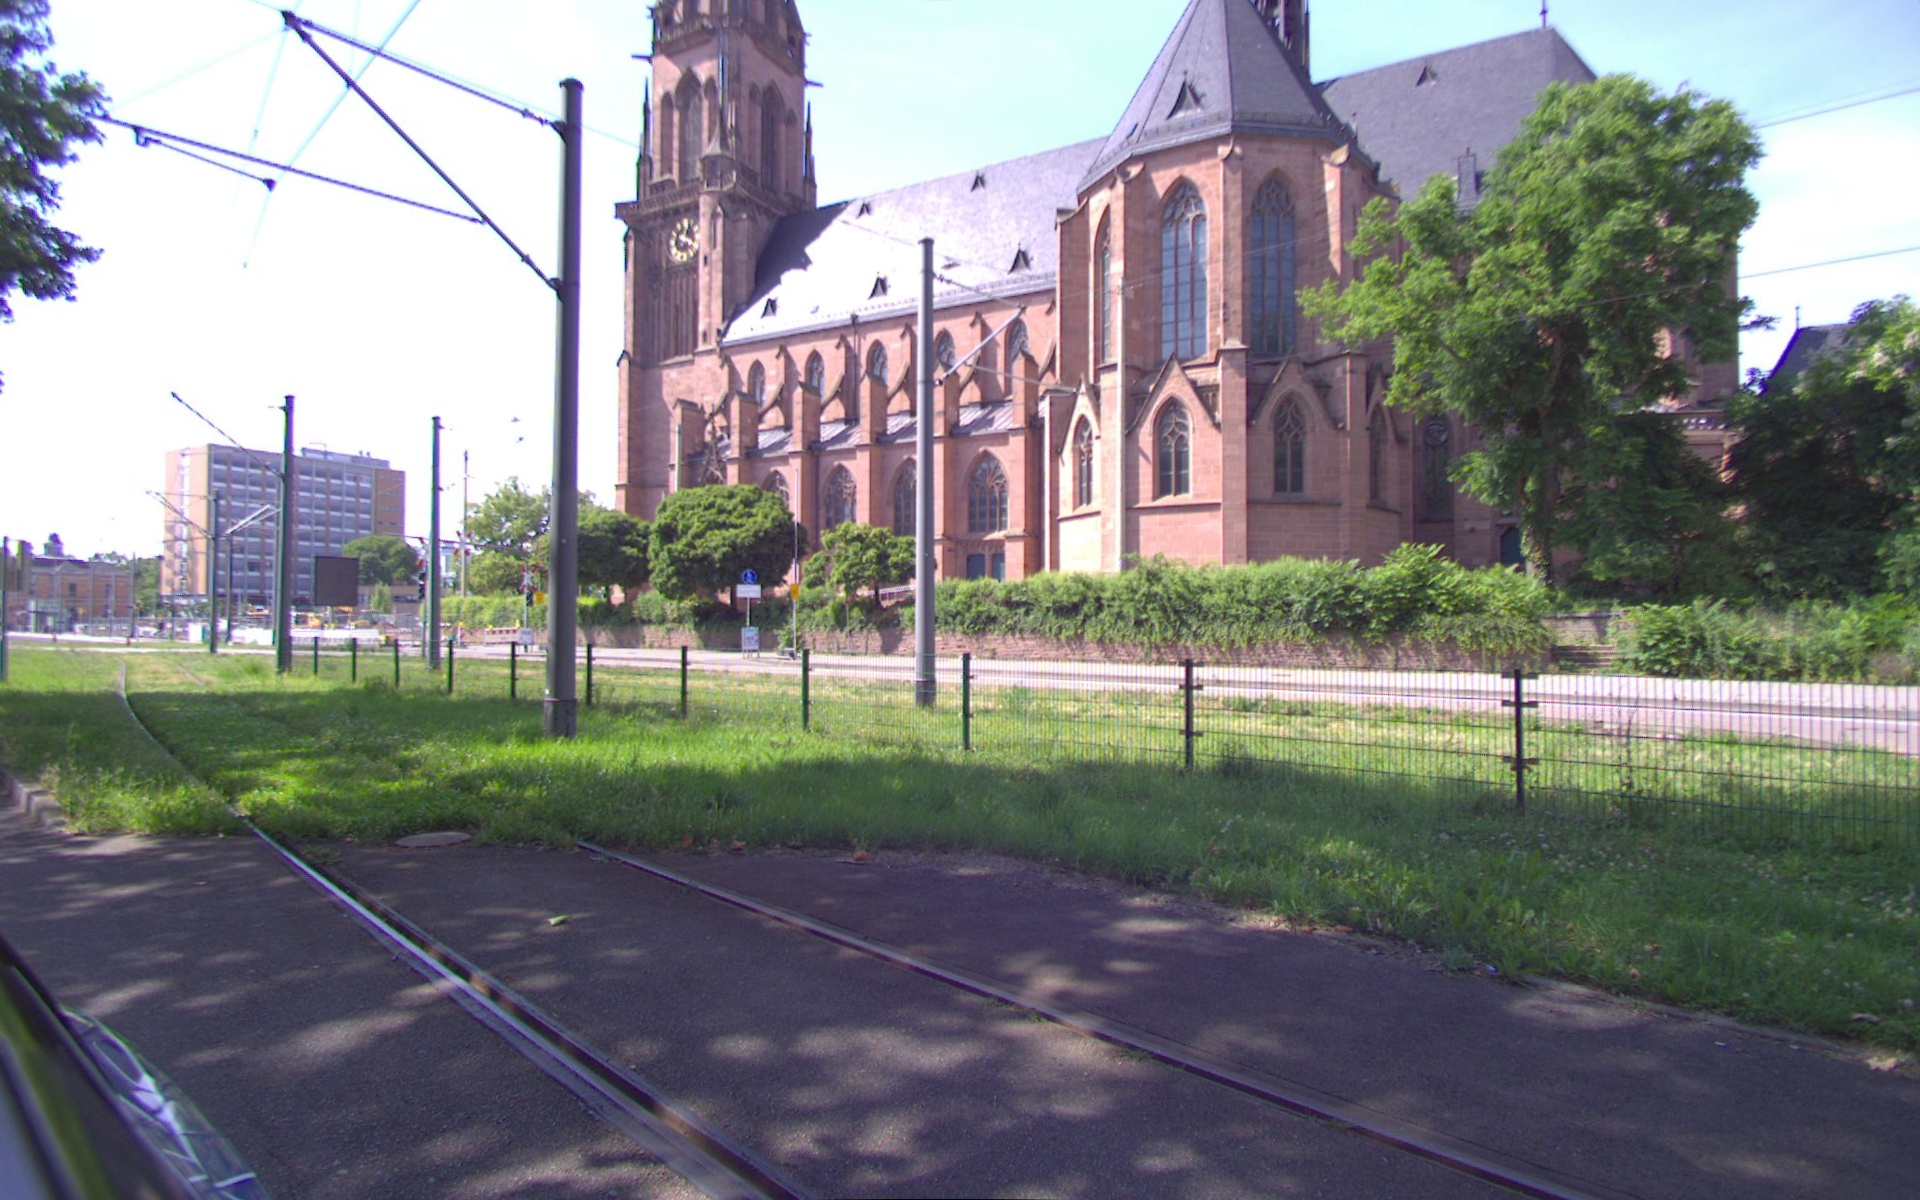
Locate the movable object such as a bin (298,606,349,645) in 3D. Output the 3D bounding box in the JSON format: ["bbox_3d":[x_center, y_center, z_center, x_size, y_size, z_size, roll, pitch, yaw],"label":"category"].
[{"bbox_3d":[-65.635,2.638,104.411,2.904,3.911,3.327,0,-2,8],"label":"movable object such as a bin"}]
